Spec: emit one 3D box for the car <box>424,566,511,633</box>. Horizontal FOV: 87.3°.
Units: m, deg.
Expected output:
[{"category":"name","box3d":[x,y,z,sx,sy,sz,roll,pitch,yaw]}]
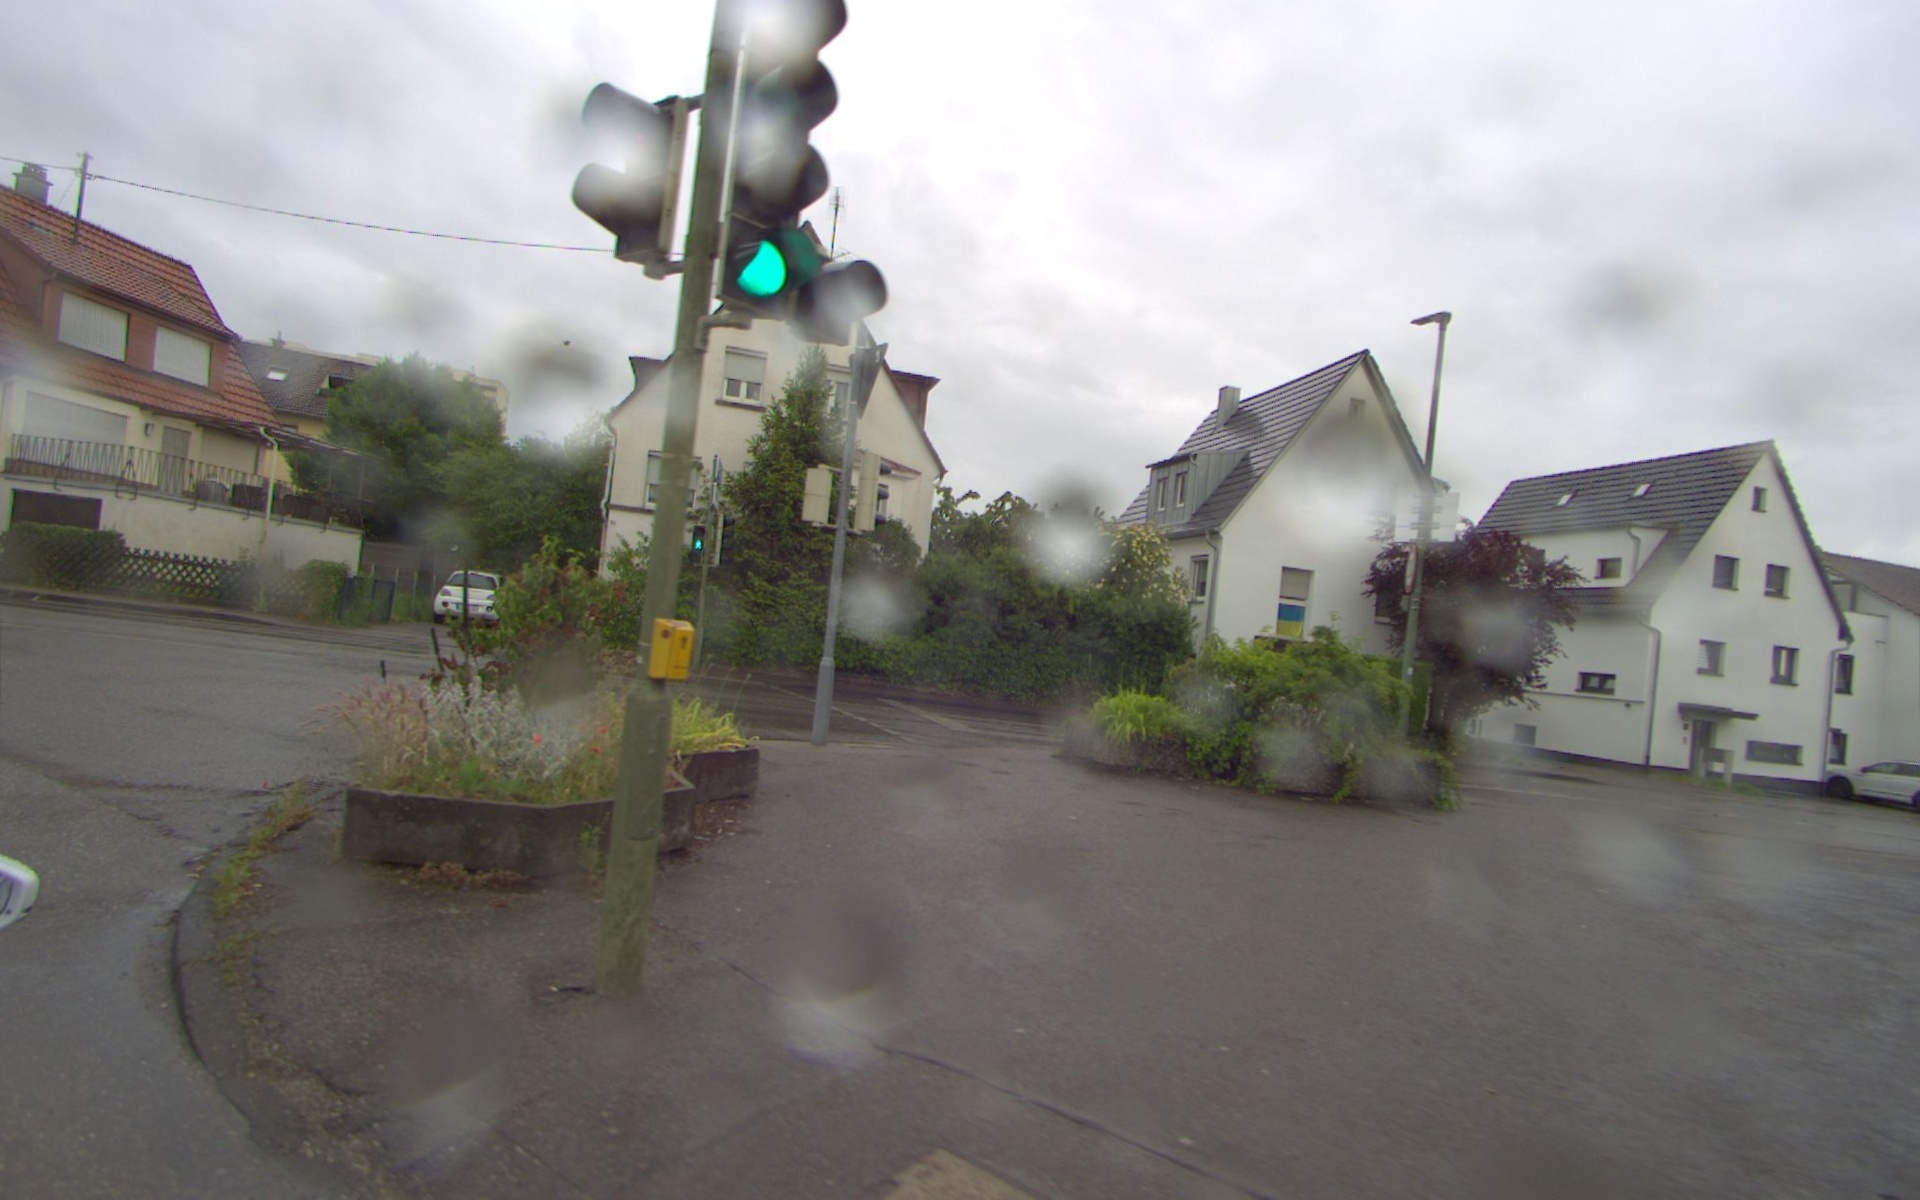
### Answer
[{"category":"car","box3d":[-13.468,-0.037,27.714,1.827,1.514,3.722,8,-2,-24]}]
